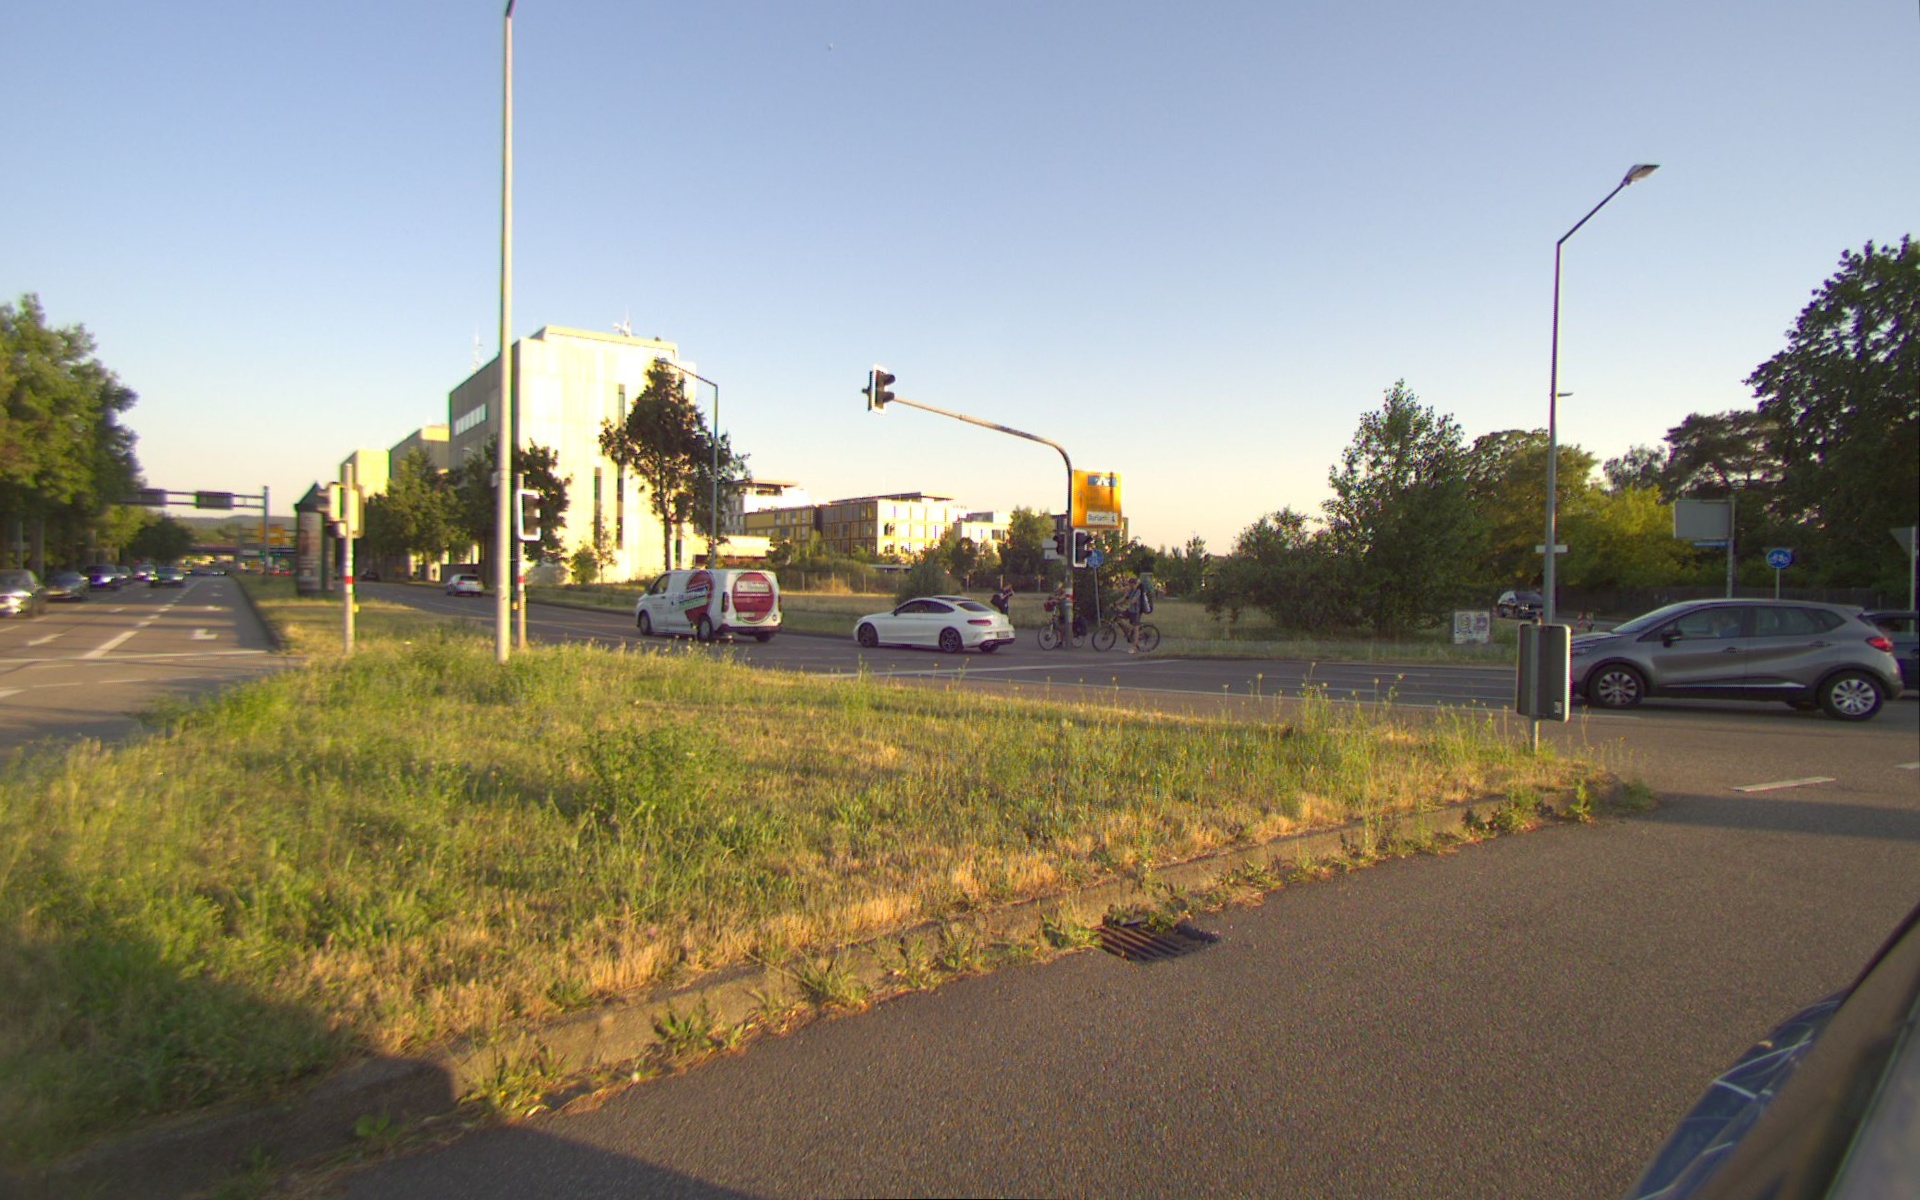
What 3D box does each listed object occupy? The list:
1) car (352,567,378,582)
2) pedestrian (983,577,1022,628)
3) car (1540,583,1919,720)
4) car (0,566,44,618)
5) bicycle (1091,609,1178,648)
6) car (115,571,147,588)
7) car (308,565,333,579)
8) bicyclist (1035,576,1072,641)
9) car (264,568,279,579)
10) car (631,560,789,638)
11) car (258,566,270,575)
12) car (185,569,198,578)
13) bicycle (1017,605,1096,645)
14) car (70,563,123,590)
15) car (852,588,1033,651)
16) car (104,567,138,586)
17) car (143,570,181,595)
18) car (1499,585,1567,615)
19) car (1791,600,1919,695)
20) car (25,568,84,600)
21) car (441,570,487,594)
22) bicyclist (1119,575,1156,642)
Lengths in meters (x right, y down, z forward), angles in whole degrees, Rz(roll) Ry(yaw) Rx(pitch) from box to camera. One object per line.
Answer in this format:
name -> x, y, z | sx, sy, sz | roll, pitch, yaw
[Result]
car -> -66.539, -2.821, 113.137 | 1.964, 1.593, 3.996 | 0, 1, -39
pedestrian -> 1.393, 0.081, 33.002 | 0.981, 1.610, 0.919 | 1, 1, 25
car -> 10.576, 0.615, 14.245 | 3.957, 1.649, 1.984 | 1, 1, 24
car -> -33.370, -0.285, 35.085 | 1.964, 1.657, 4.523 | -4, 4, -37
bicycle -> 4.529, 0.736, 26.237 | 2.100, 0.975, 0.711 | 1, 1, -15
car -> -71.464, -1.806, 87.285 | 1.832, 1.407, 4.163 | 0, 1, -35
car -> -77.976, -3.377, 123.378 | 1.966, 1.616, 3.992 | 0, 1, -43
bicyclist -> 2.516, 0.213, 27.323 | 0.675, 1.711, 0.726 | 0, 1, -29
car -> -111.014, -4.311, 163.181 | 1.962, 1.805, 4.001 | 0, 1, -35
car -> -7.021, -0.084, 28.070 | 2.035, 1.971, 4.948 | 0, 1, -44
car -> -139.491, -5.912, 202.868 | 1.962, 1.805, 4.001 | 0, 1, -35
car -> -140.978, -4.923, 185.701 | 1.880, 1.603, 4.179 | 0, 1, -37
bicycle -> 2.602, 0.664, 27.342 | 2.065, 0.975, 0.711 | -2, 2, -27
car -> -54.177, -1.486, 63.558 | 1.961, 1.593, 4.418 | 0, 1, -33
car -> -0.517, 0.445, 26.283 | 4.503, 1.425, 1.972 | 2, 1, 39
car -> -63.305, -1.803, 76.437 | 1.834, 1.407, 4.160 | 0, 1, -38
car -> -56.049, -1.271, 71.061 | 1.963, 1.599, 4.482 | 3, -1, -39
car -> 33.563, -0.032, 59.410 | 1.966, 1.617, 4.305 | 1, 1, 8
car -> 16.457, 0.779, 16.404 | 4.149, 1.445, 1.986 | 1, 1, 22
car -> -43.749, -0.786, 48.869 | 4.657, 1.482, 1.856 | 2, 2, 45
car -> -33.722, -1.249, 68.709 | 1.962, 1.528, 5.186 | 0, 1, -35
bicyclist -> 4.602, 0.214, 26.258 | 0.674, 1.711, 0.727 | 1, 1, -13
